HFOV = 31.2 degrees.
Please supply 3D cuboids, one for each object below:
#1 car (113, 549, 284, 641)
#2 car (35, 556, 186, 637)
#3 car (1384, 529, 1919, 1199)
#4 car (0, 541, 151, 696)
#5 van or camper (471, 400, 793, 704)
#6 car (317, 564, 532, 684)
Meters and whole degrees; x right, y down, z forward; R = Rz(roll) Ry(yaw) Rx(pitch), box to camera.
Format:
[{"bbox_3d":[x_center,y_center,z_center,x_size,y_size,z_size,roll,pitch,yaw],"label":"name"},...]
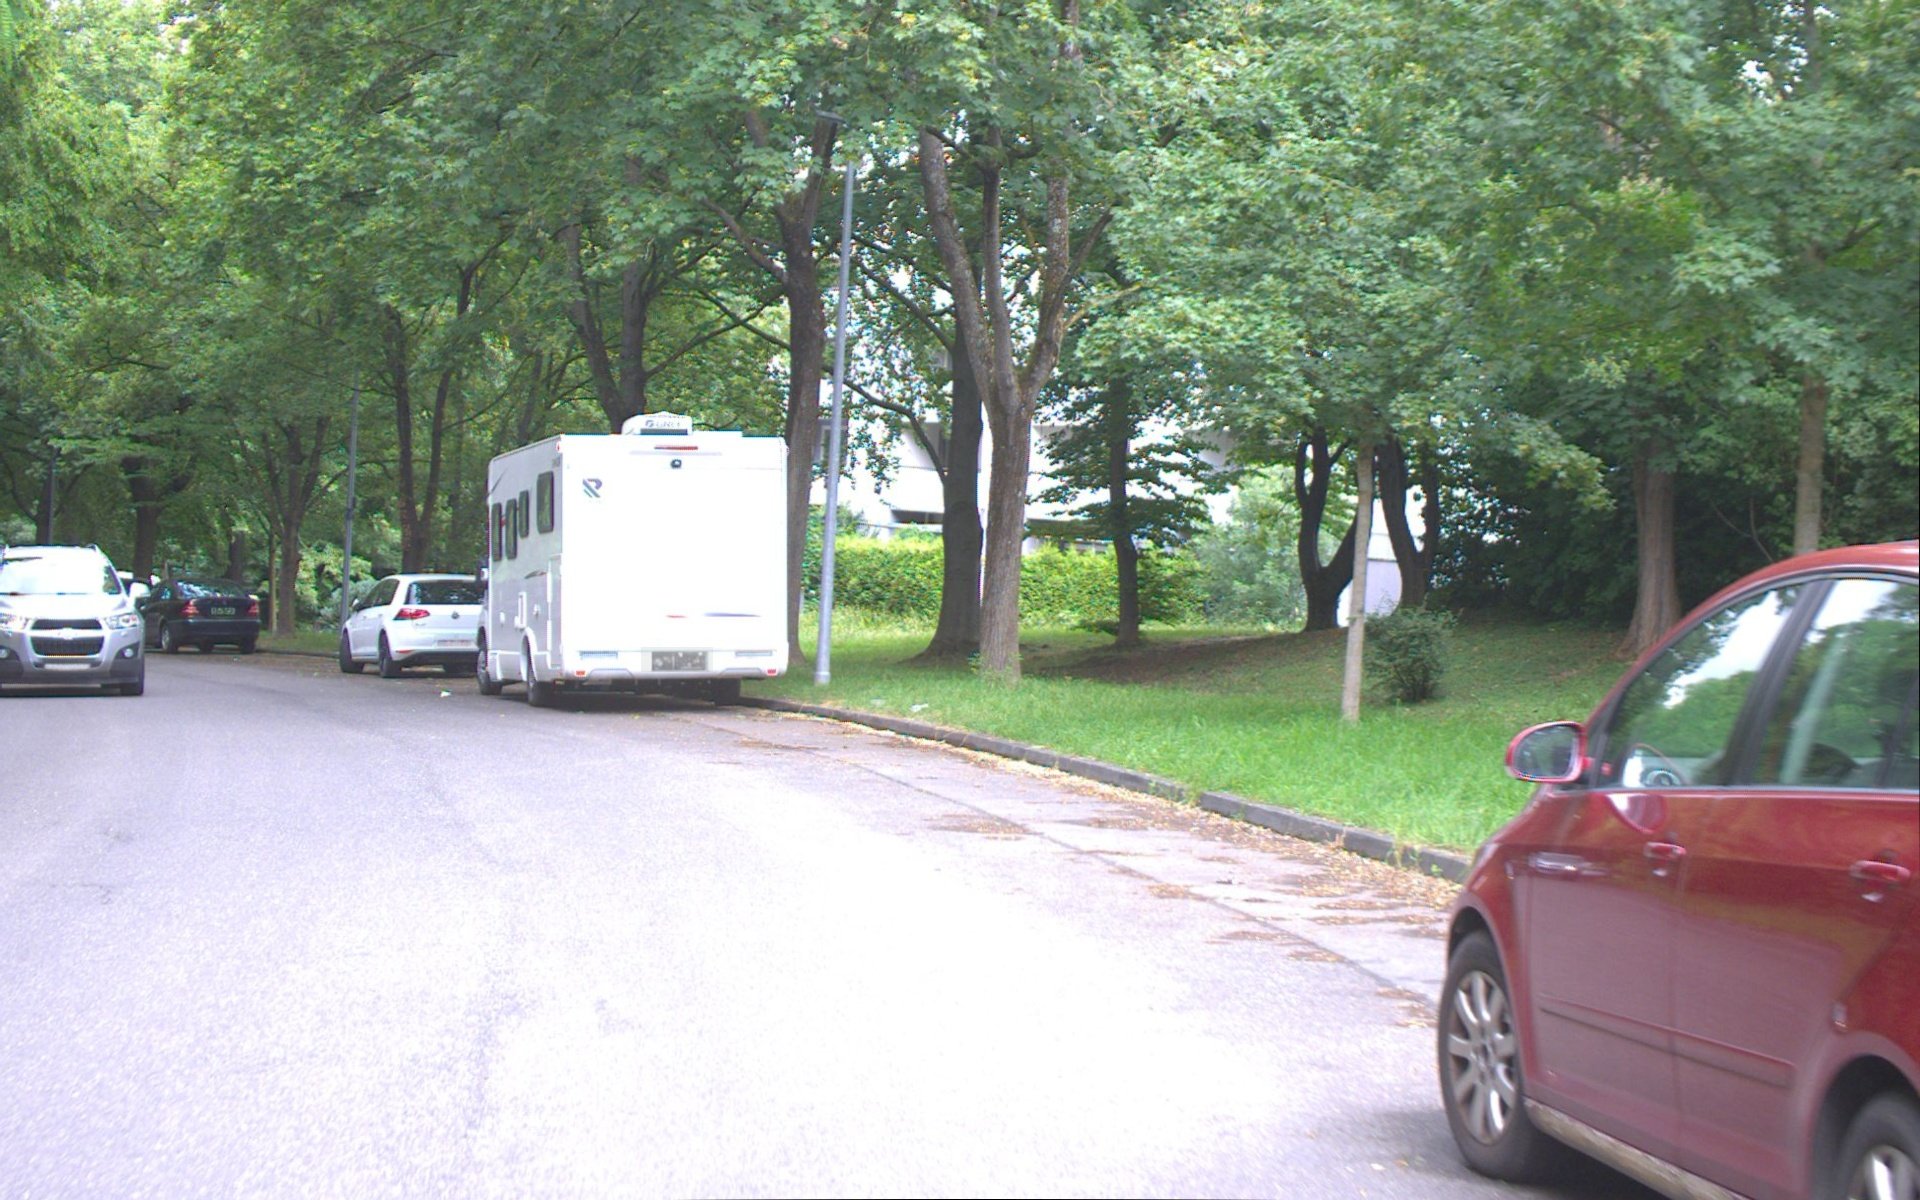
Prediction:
[{"bbox_3d":[-14.336,-0.107,64.566,1.993,1.495,4.001,3,1,-29],"label":"car"},{"bbox_3d":[-17.307,-0.085,69.925,1.993,1.608,4.000,0,0,-29],"label":"car"},{"bbox_3d":[2.213,0.662,7.085,1.738,1.557,4.001,1,0,-7],"label":"car"},{"bbox_3d":[-10.555,0.163,40.094,1.857,1.658,4.572,-1,2,-17],"label":"car"},{"bbox_3d":[-3.601,-0.540,36.645,2.428,2.997,5.211,0,1,-17],"label":"van or camper"},{"bbox_3d":[-7.717,0.319,49.276,1.993,1.468,4.001,3,1,-24],"label":"car"}]
